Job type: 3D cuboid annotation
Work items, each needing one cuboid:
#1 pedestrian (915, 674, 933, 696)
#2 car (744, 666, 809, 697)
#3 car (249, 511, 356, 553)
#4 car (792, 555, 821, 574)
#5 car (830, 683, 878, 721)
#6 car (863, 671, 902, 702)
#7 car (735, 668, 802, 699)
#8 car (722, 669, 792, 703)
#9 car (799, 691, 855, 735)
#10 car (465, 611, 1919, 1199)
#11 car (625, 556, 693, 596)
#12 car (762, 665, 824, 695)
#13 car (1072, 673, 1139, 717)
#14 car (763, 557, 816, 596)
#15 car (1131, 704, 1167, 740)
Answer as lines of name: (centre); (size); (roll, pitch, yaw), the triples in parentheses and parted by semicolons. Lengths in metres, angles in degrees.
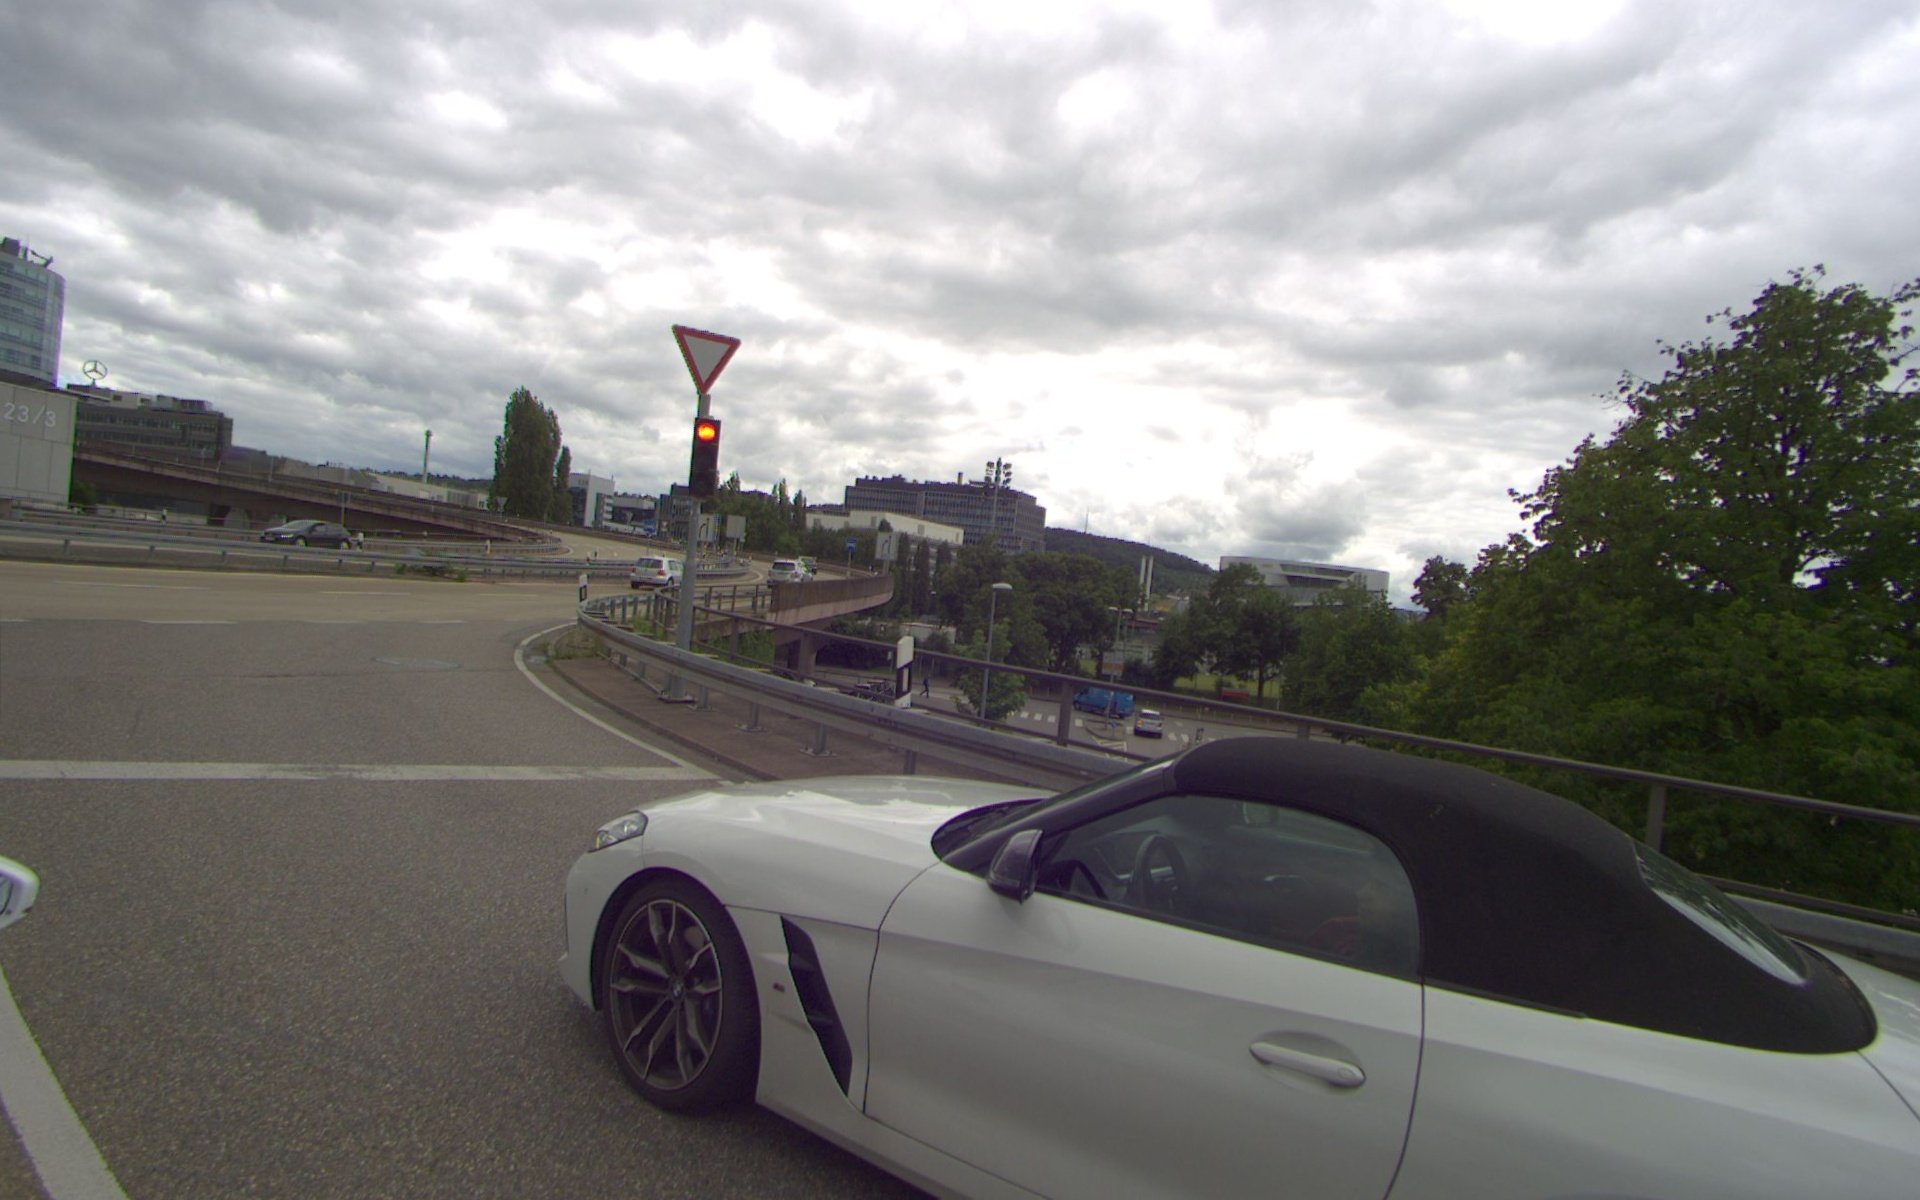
pedestrian: (-2.666, 6.312, 74.779); (0.898, 1.514, 0.750); (8, -3, 15)
car: (-12.067, 5.375, 66.341); (3.792, 1.371, 1.826); (8, 1, 1)
car: (-30.750, -3.157, 47.182); (1.879, 1.440, 3.993); (8, 2, 9)
car: (-13.700, -3.180, 89.732); (1.705, 1.480, 4.225); (6, 0, -20)
car: (-6.052, 5.799, 57.755); (1.792, 1.553, 4.000); (8, 0, 6)
car: (-5.273, 5.861, 68.623); (1.792, 1.553, 4.000); (8, 0, 6)
car: (-12.182, 5.317, 64.222); (3.792, 1.371, 1.826); (8, 1, 1)
car: (-12.460, 5.270, 61.882); (3.792, 1.371, 1.826); (8, 1, 1)
car: (-6.736, 5.701, 51.227); (1.792, 1.553, 4.000); (8, 0, 6)
car: (0.625, 0.986, 3.002); (4.194, 1.306, 1.808); (7, -2, 34)
car: (-13.195, -1.026, 44.332); (1.698, 1.417, 4.065); (7, 0, -1)
car: (-11.467, 5.491, 69.121); (3.792, 1.371, 1.826); (8, 1, 1)
car: (11.679, 7.635, 81.145); (1.997, 2.617, 5.346); (11, -2, -31)
car: (-9.178, -1.226, 54.490); (1.697, 1.758, 4.556); (7, 0, 2)
car: (13.187, 8.483, 70.357); (1.978, 1.883, 4.868); (10, -2, 9)
